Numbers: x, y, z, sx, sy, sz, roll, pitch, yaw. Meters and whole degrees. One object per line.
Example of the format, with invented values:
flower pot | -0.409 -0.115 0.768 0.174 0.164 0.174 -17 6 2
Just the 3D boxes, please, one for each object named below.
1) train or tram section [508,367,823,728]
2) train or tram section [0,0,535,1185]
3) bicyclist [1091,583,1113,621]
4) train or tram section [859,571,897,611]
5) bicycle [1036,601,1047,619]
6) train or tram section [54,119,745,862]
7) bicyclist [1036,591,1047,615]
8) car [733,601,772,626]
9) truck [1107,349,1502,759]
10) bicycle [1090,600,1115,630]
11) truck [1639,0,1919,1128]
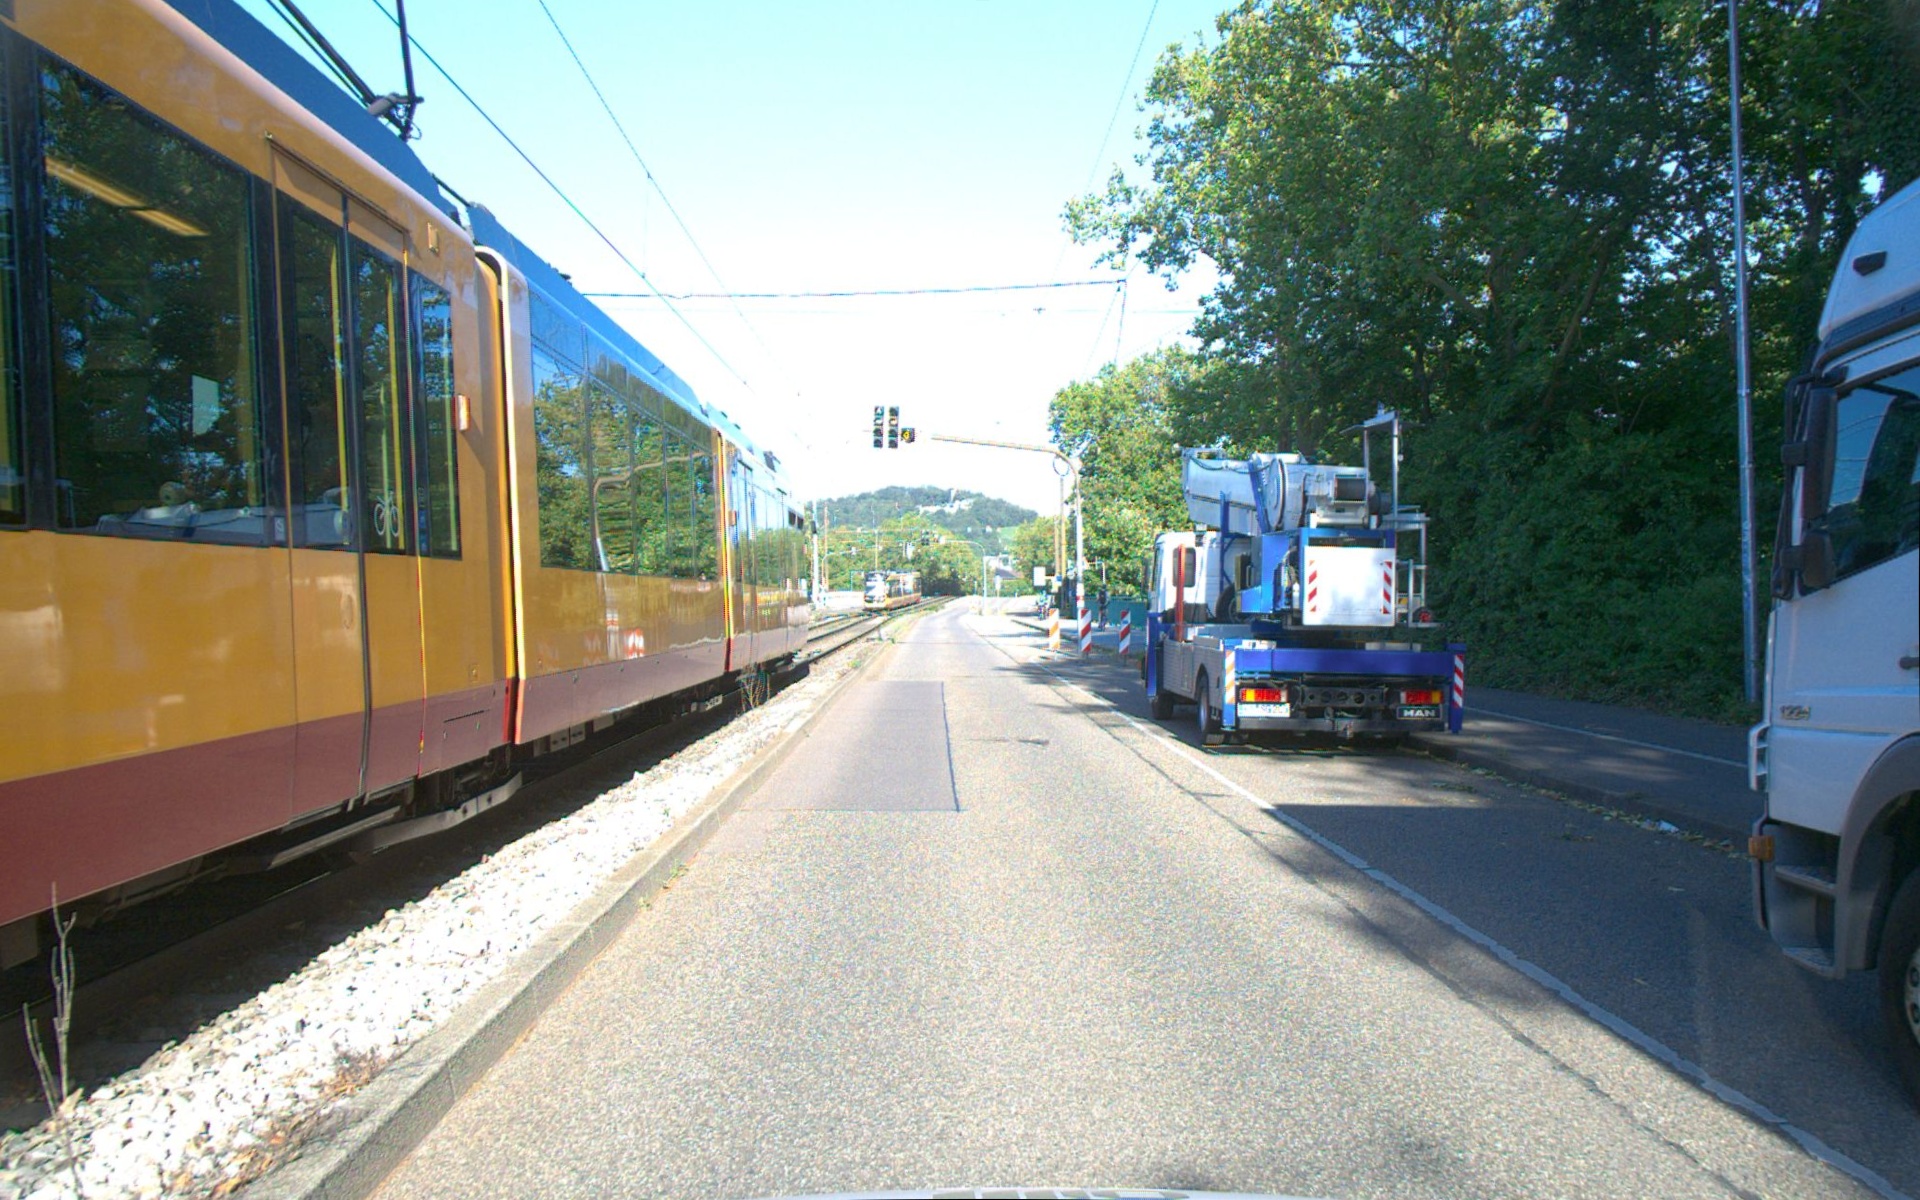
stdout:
train or tram section | -3.958 -0.626 25.672 2.664 4.160 12.811 -1 0 -1
train or tram section | -3.689 -0.628 2.543 2.666 4.162 13.612 -1 0 -1
bicyclist | 5.801 0.065 67.488 0.807 1.547 0.975 0 0 -1
train or tram section | -7.605 -0.822 154.573 2.589 3.629 10.836 0 0 3
bicycle | 4.832 0.601 98.359 0.504 1.060 1.975 0 0 -1
train or tram section | -3.815 -0.635 14.323 2.640 4.160 9.909 -1 0 -1
bicyclist | 4.840 0.183 98.345 0.592 1.403 0.975 0 0 -1
car | -12.258 0.774 97.941 1.731 1.437 4.911 -1 0 0
truck | 3.730 -0.439 20.692 2.662 3.849 9.759 1 0 -1
bicycle | 5.791 0.590 67.384 0.713 1.196 2.694 -1 0 -1
truck | 4.167 -0.389 1.550 2.686 3.849 10.087 1 0 -1
